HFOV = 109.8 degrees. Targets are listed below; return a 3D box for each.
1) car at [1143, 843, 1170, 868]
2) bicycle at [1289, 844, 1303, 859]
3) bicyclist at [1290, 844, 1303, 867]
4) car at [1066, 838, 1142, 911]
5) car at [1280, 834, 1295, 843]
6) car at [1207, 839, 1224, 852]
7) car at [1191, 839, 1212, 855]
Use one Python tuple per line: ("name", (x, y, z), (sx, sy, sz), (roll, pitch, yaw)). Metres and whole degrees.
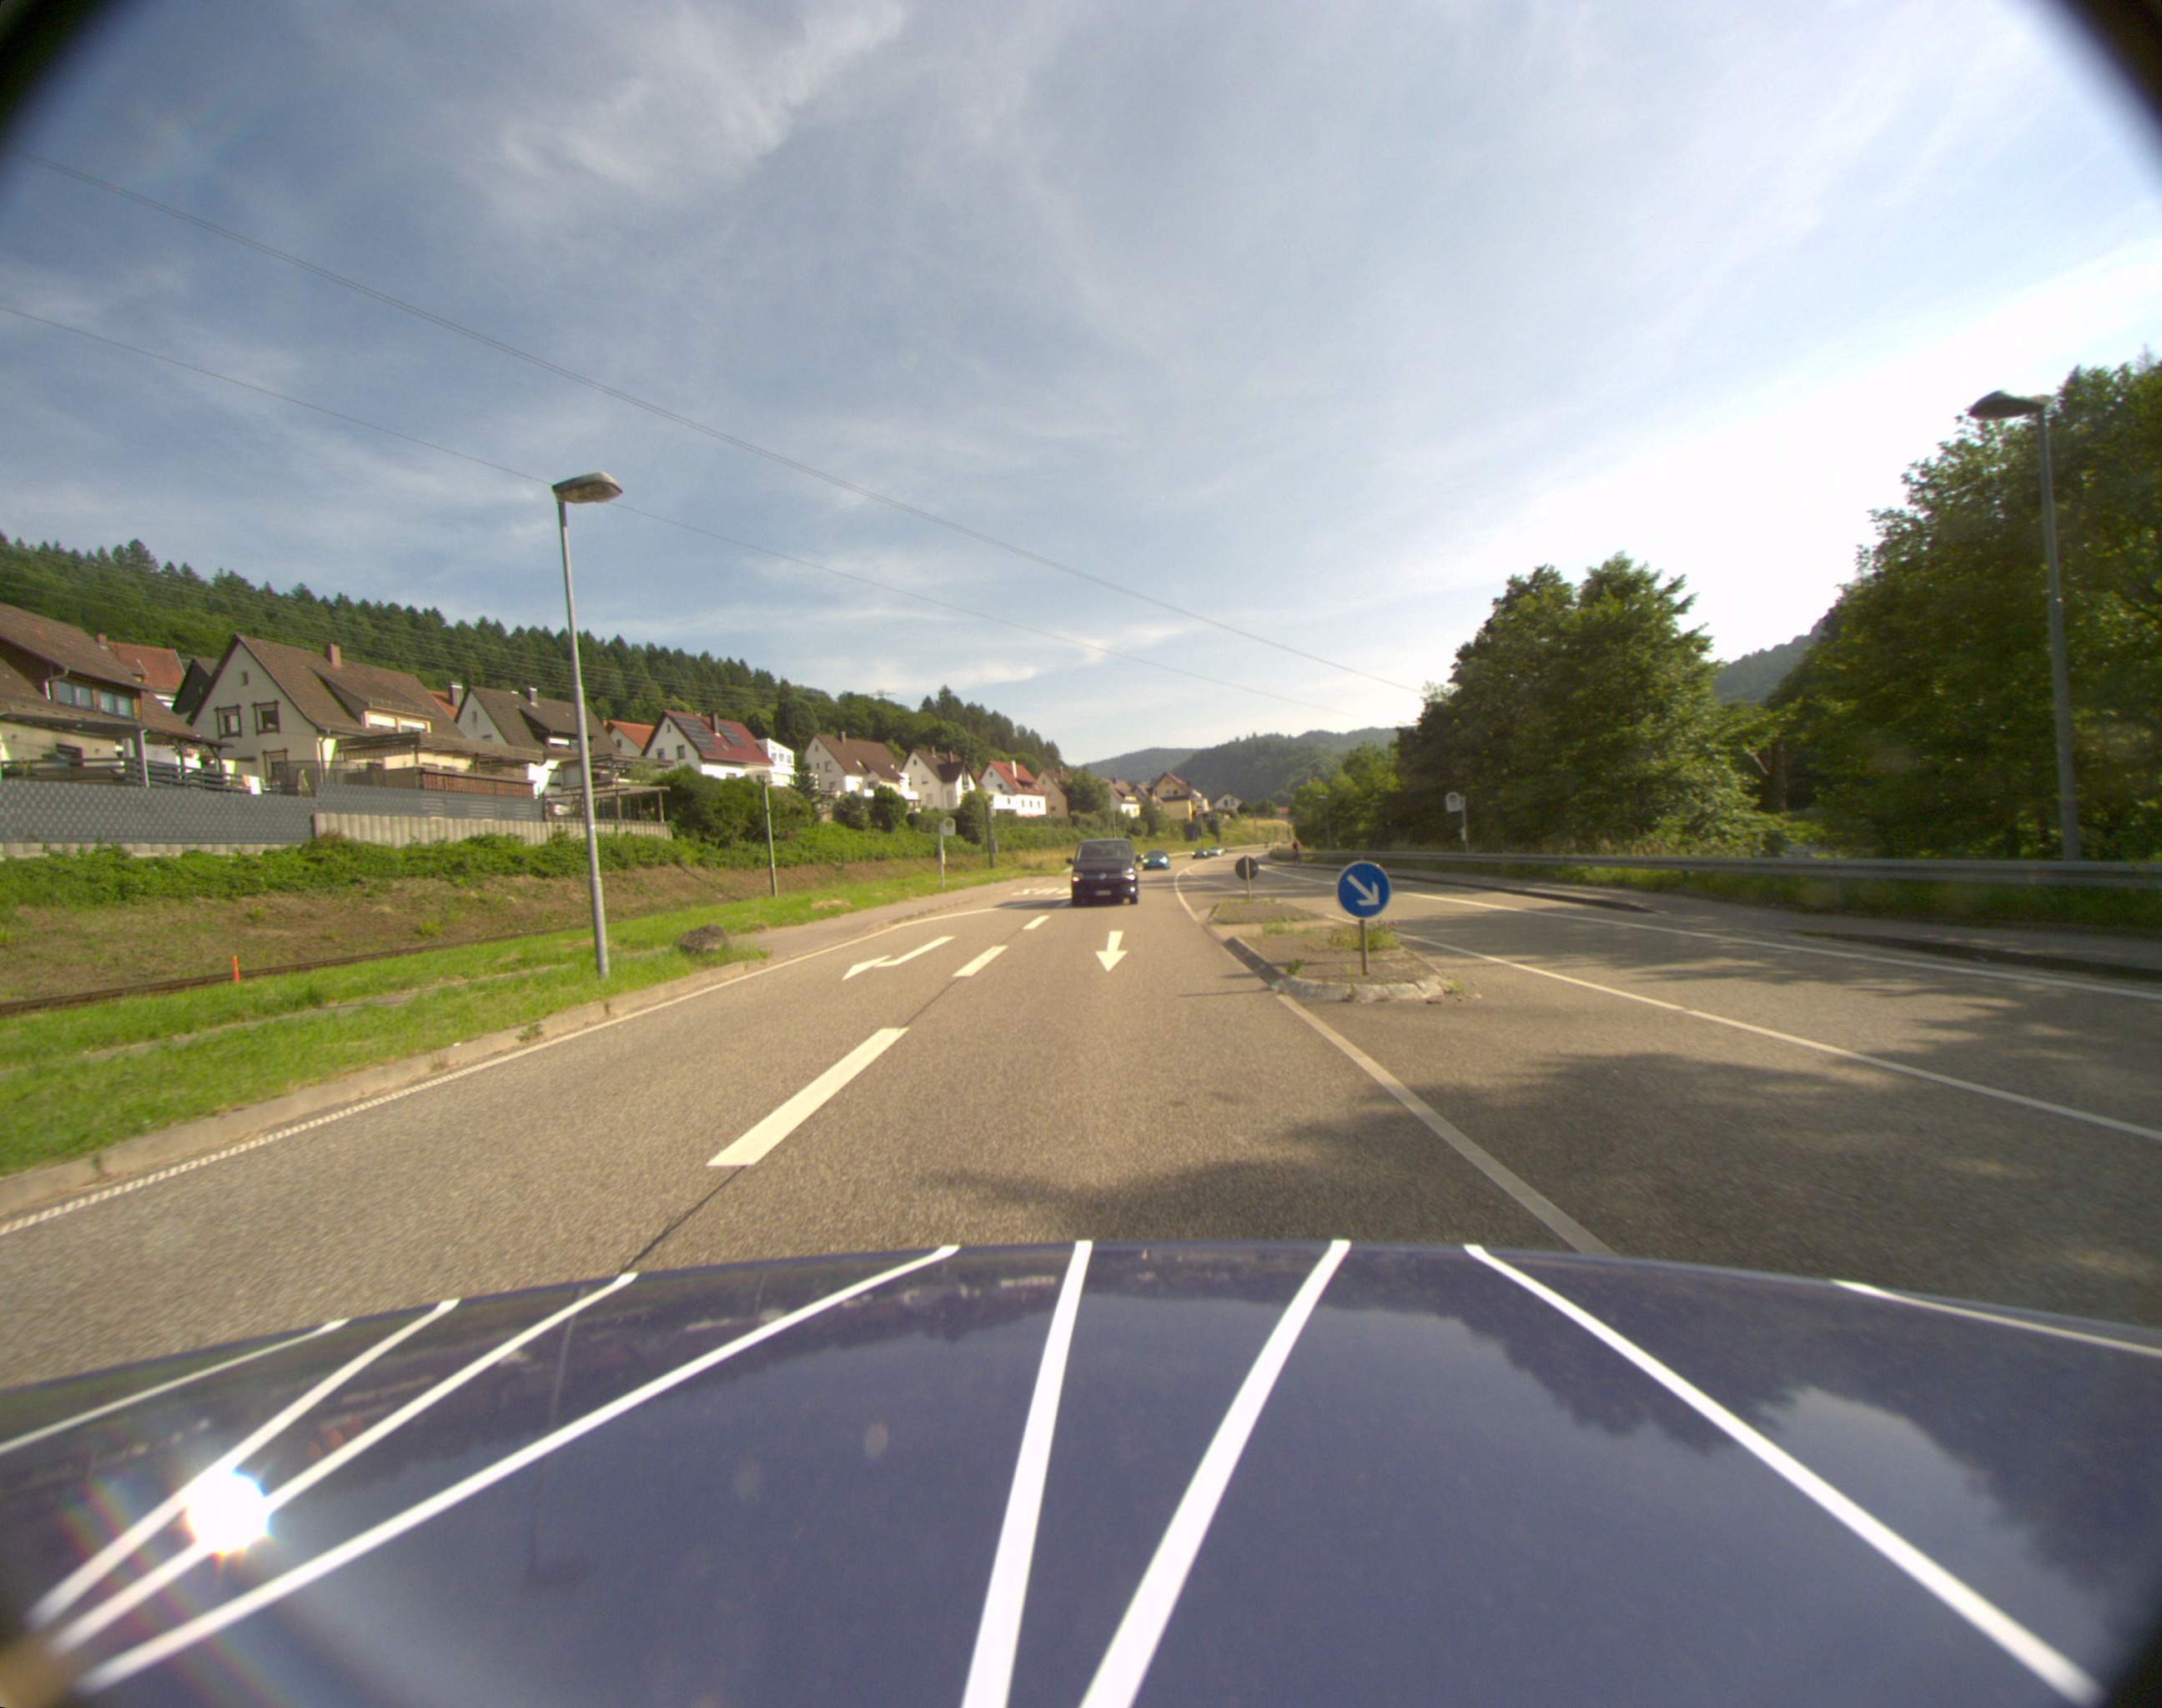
("car", (5.696, 0.064, 57.179), (1.884, 1.735, 4.180), (-2, 1, 7))
("bicycle", (15.324, -0.168, 54.128), (0.558, 1.039, 2.231), (-6, -1, 8))
("bicyclist", (15.337, 0.090, 54.114), (0.558, 1.577, 1.036), (-6, -1, 7))
("car", (0.770, 0.540, 23.037), (2.018, 1.905, 4.312), (-3, 1, 4))
("car", (39.315, -3.024, 144.399), (1.892, 1.480, 4.005), (-3, 1, 26))
("car", (18.794, -1.247, 106.144), (1.883, 1.735, 4.182), (-3, 1, 15))
("car", (14.649, -0.885, 92.233), (1.883, 1.735, 4.183), (-3, 1, 16))
